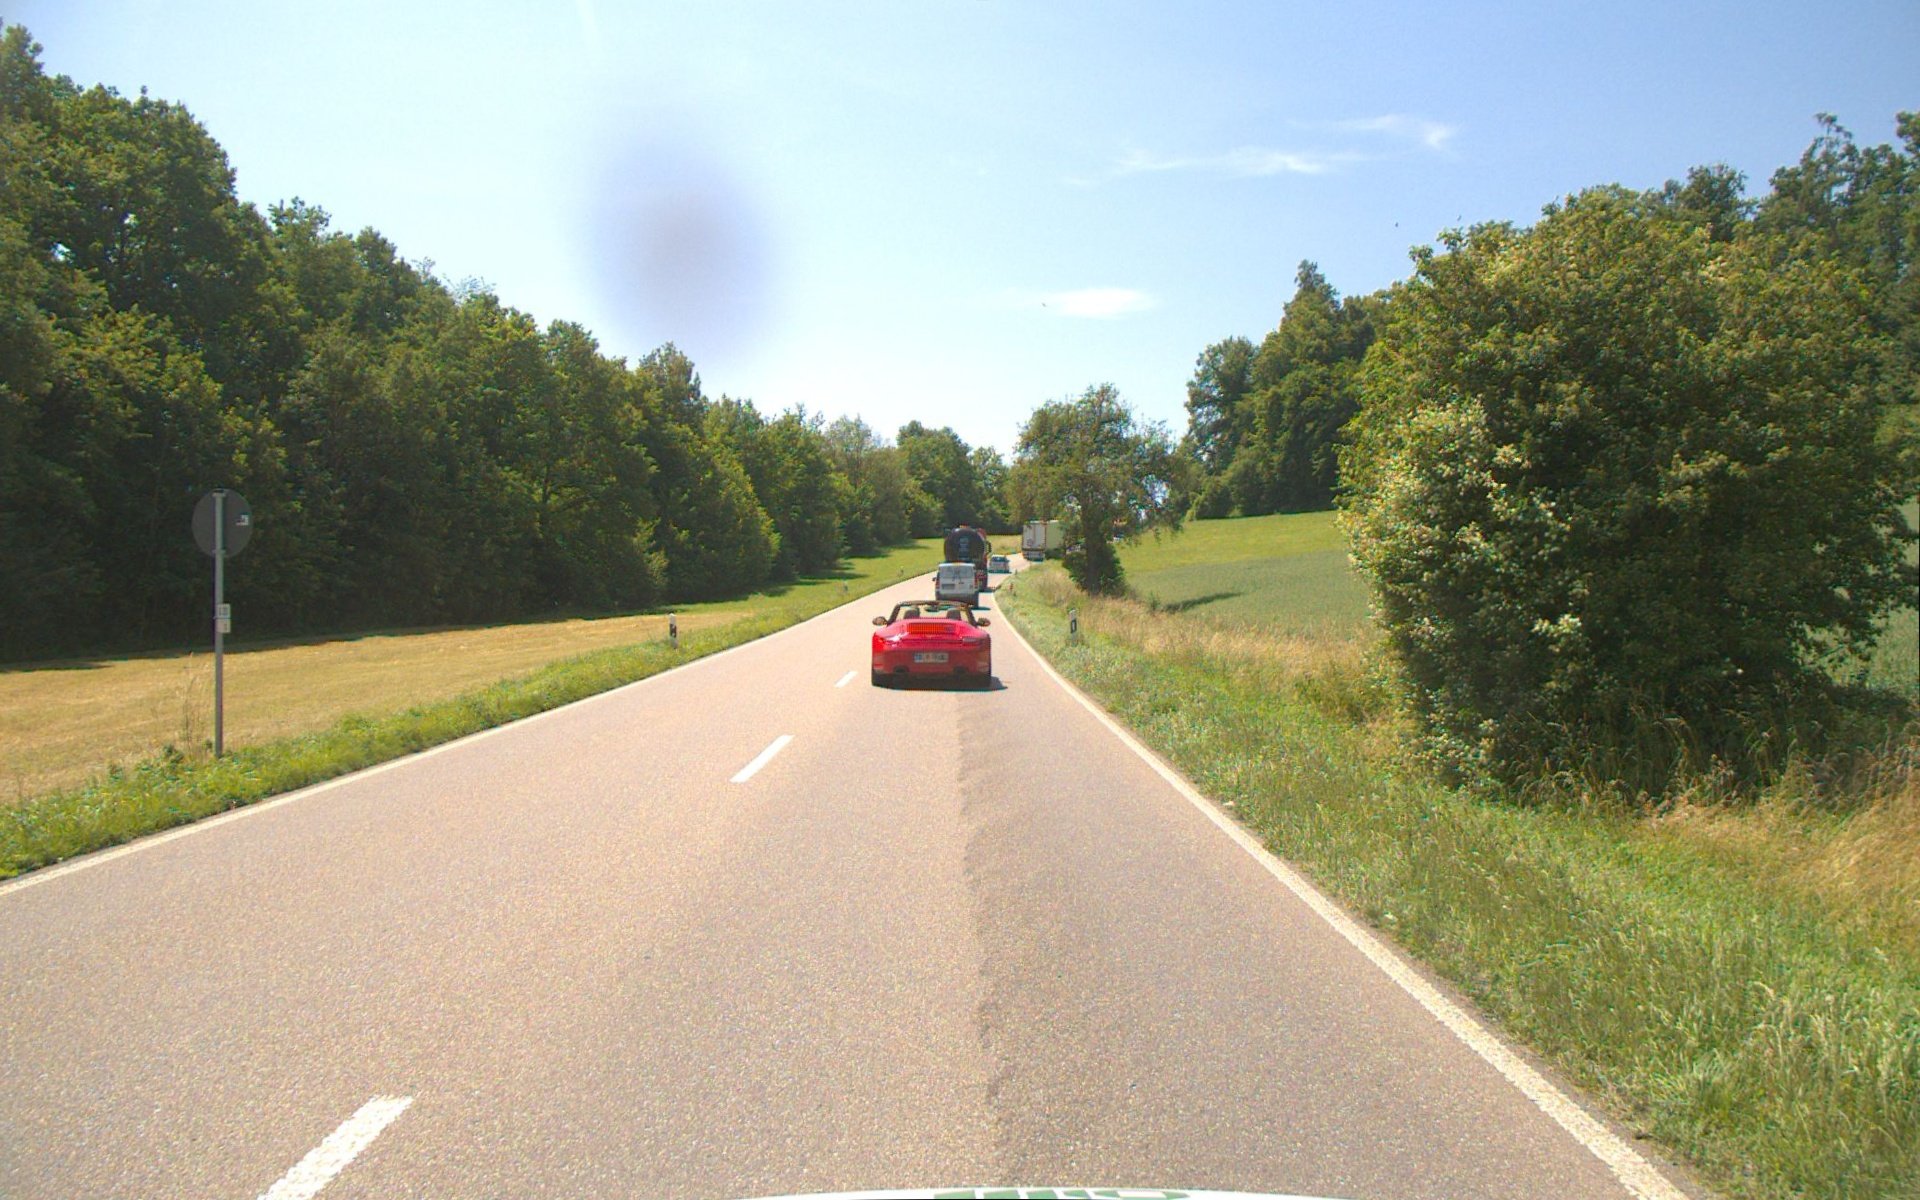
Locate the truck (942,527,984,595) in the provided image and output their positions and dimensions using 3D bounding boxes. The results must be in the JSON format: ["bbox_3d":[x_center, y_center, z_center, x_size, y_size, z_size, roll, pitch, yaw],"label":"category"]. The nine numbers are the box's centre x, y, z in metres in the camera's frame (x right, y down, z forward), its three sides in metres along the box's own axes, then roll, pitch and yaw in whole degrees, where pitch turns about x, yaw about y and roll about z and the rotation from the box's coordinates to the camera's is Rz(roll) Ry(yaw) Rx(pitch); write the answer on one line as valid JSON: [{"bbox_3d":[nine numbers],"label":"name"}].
[{"bbox_3d":[0.116,-2.457,106.827,2.355,4.120,12.548,1,1,-1],"label":"truck"}]

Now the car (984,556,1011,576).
[{"bbox_3d":[3.338,-3.052,146.436,1.792,1.539,4.196,-2,3,8],"label":"car"}]

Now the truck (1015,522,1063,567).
[{"bbox_3d":[8.756,-6.159,181.052,3.645,4.740,12.045,0,3,10],"label":"truck"}]

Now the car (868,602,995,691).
[{"bbox_3d":[-0.430,0.684,26.194,1.844,1.277,4.009,0,0,0],"label":"car"}]

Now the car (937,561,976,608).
[{"bbox_3d":[-0.151,-0.701,70.732,1.644,1.933,4.010,0,2,0],"label":"car"}]
